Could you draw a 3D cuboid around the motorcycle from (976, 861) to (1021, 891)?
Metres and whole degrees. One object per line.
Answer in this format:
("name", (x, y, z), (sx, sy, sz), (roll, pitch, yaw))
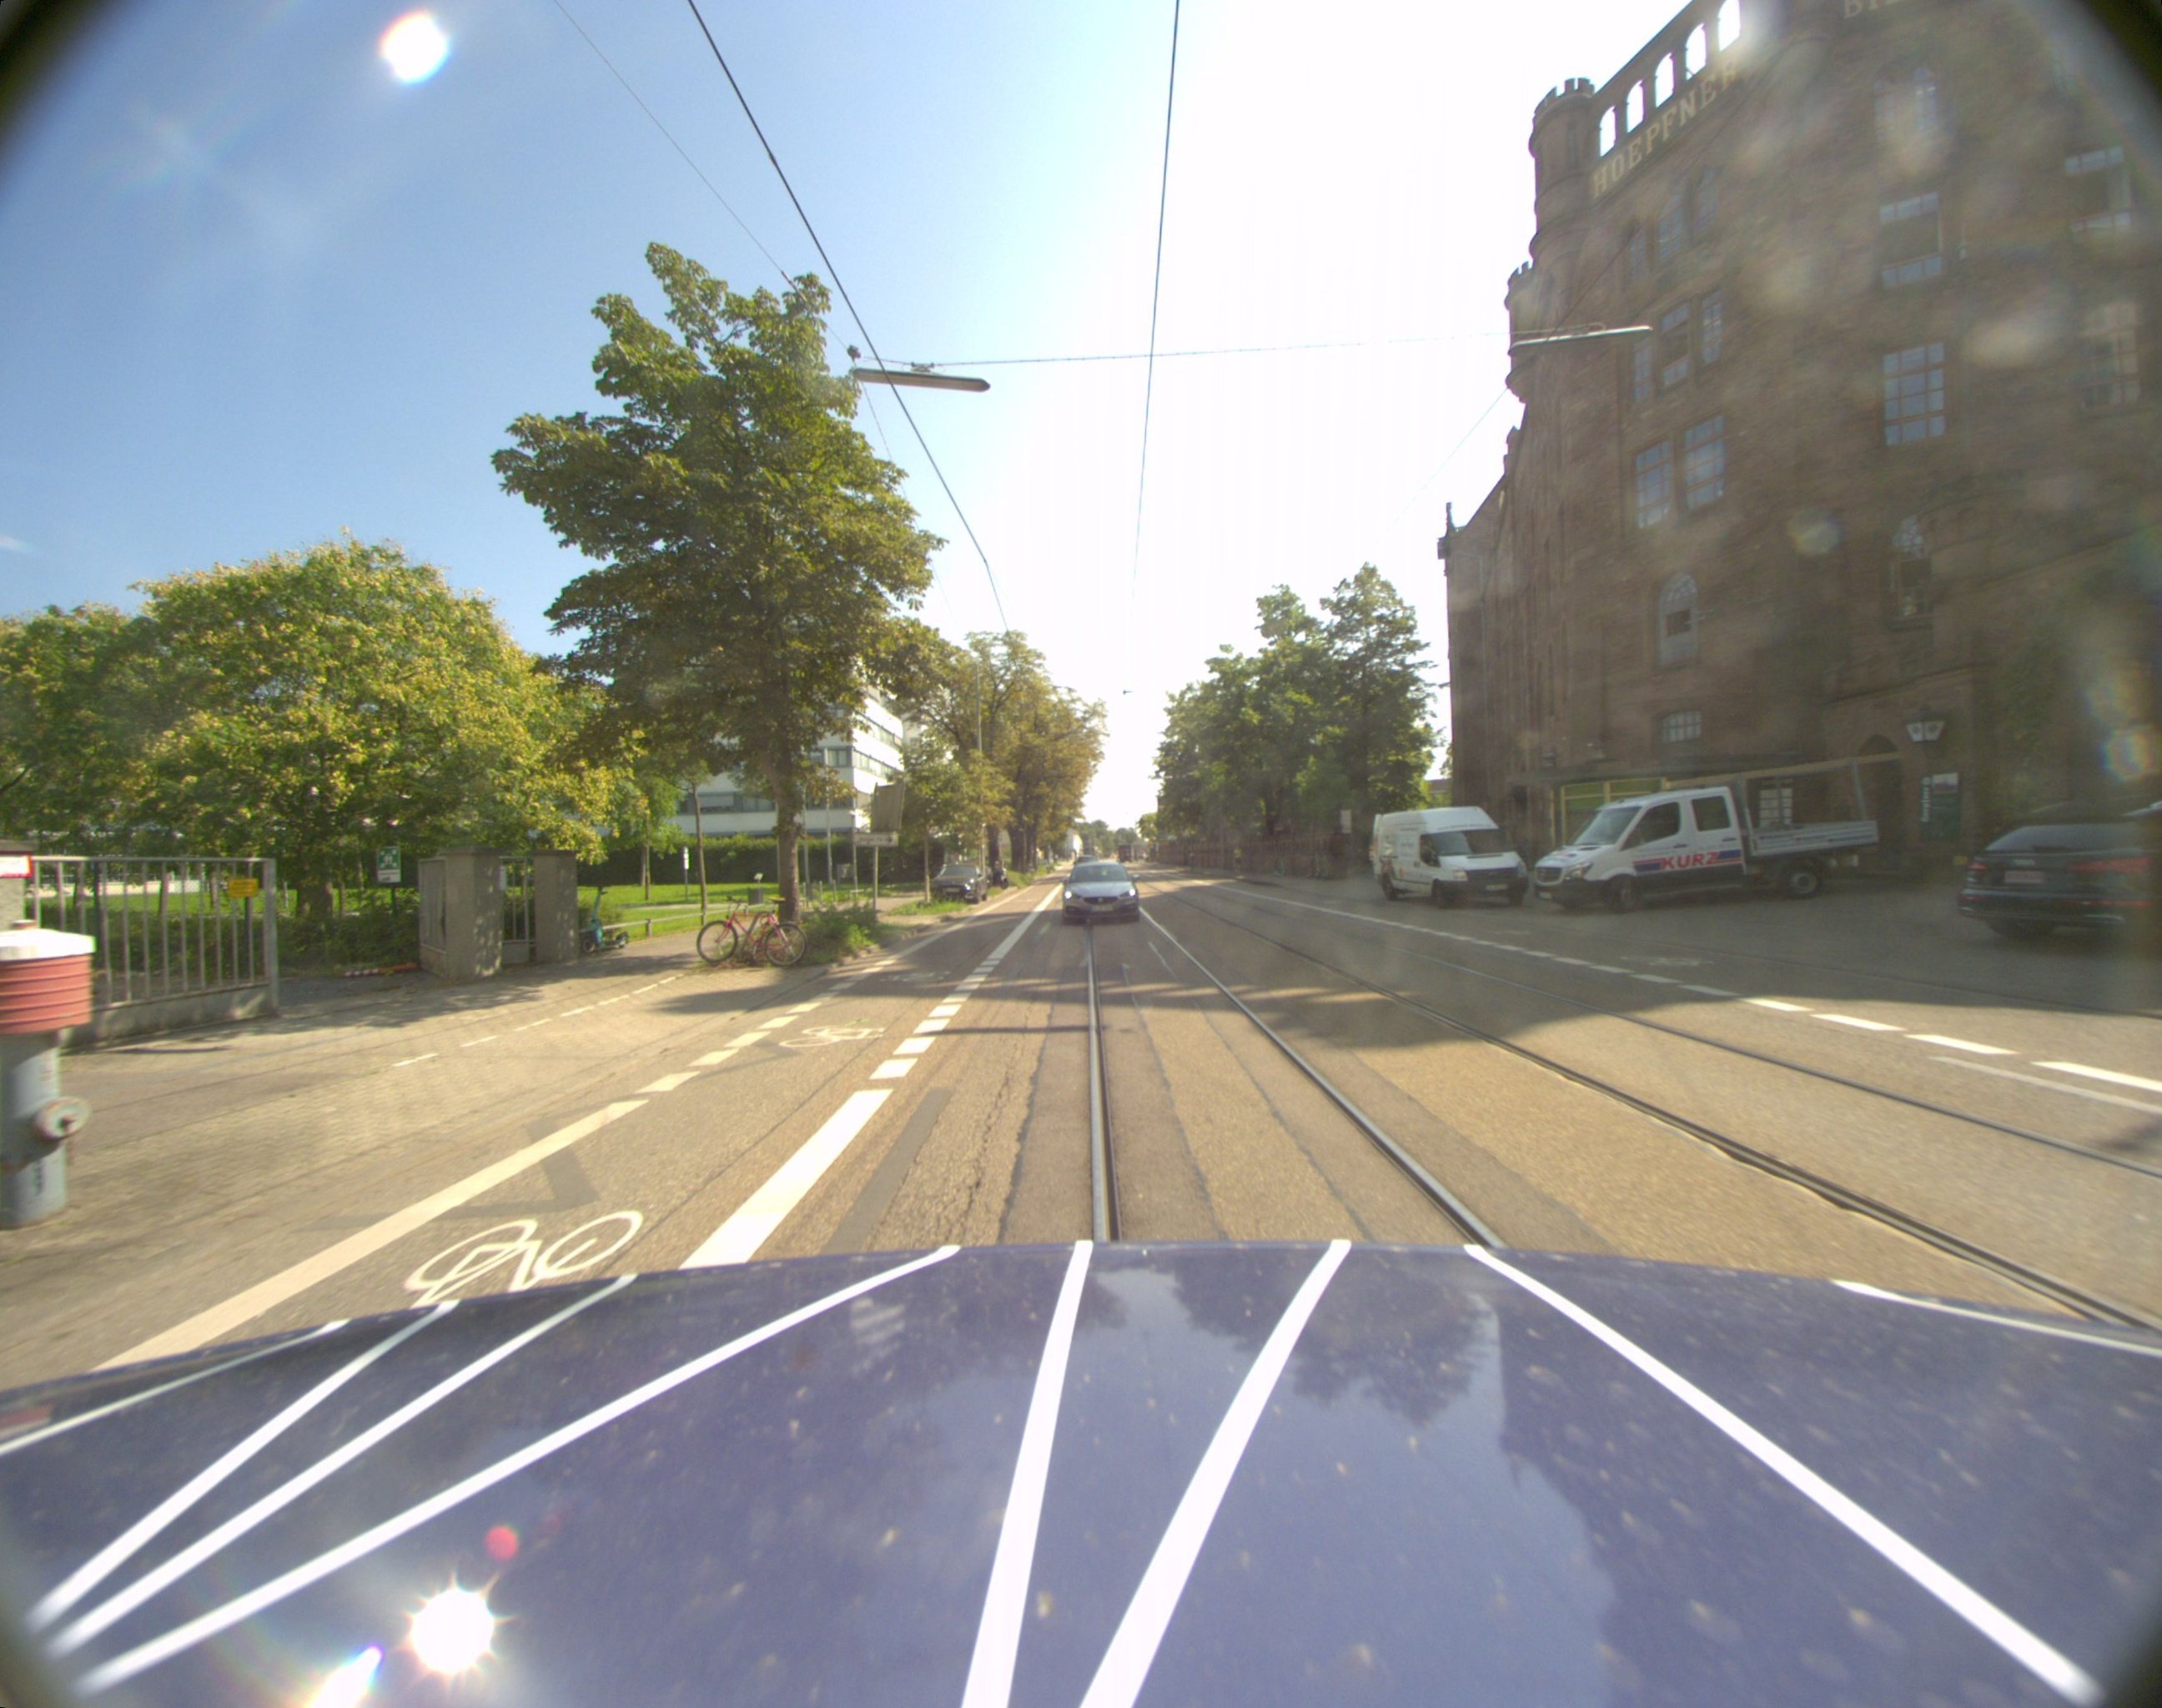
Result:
("motorcycle", (-4.408, 1.166, 40.476), (2.448, 1.507, 0.854), (-3, 0, 39))

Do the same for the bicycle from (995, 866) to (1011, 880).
("bicycle", (-6.778, 1.671, 66.424), (1.138, 1.118, 2.536), (-3, 0, -1))

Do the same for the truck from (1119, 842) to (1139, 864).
("truck", (10.340, -0.212, 163.120), (3.171, 4.427, 16.848), (-3, 0, 7))

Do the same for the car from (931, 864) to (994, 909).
("car", (-4.553, 1.200, 29.811), (1.760, 1.506, 4.609), (-1, 0, -1))

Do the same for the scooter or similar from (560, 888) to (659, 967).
("scooter or similar", (-8.666, 1.313, 14.056), (0.557, 1.252, 1.818), (-3, 0, 3))

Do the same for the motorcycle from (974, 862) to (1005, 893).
("motorcycle", (-4.694, 1.179, 38.779), (0.854, 1.507, 2.450), (-3, 0, -24))

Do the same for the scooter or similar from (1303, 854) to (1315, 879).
("scooter or similar", (10.872, 0.586, 36.194), (0.340, 1.172, 1.180), (-3, 0, 26))

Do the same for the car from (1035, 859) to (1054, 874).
("car", (-3.904, 1.304, 81.676), (1.760, 1.453, 4.275), (-2, 0, 1))

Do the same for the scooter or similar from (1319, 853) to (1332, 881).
("scooter or similar", (10.920, 0.582, 33.887), (0.340, 1.172, 1.180), (-3, 0, 26))

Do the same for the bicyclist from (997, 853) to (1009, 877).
("bicyclist", (-6.806, 0.961, 66.290), (0.783, 2.002, 1.274), (-3, 0, -1))

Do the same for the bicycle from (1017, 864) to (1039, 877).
("bicycle", (-4.435, 1.393, 63.433), (1.775, 1.043, 0.540), (-2, 0, 0))

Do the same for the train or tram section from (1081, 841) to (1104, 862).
("train or tram section", (2.485, -0.528, 156.776), (4.111, 3.711, 24.381), (-3, 0, 2))

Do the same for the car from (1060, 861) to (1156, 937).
("car", (0.566, 0.950, 18.081), (1.928, 1.465, 4.817), (-3, 0, 0))

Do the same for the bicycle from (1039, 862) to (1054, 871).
("bicycle", (-4.176, 1.511, 93.142), (1.775, 1.065, 0.540), (-2, 0, 0))

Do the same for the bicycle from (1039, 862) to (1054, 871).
("bicycle", (-4.187, 1.512, 93.120), (1.775, 1.065, 0.540), (-2, 0, 0))

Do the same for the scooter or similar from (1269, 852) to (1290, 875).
("scooter or similar", (10.584, 0.513, 40.499), (0.422, 1.172, 1.315), (-3, 0, -15))

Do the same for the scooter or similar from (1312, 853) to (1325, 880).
("scooter or similar", (10.949, 0.581, 35.021), (0.340, 1.172, 1.180), (-3, 0, 26))

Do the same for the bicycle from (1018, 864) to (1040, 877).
("bicycle", (-4.383, 1.391, 64.110), (1.775, 1.043, 0.540), (-2, 0, 0))

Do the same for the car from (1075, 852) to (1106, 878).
("car", (0.593, 0.686, 49.675), (1.834, 1.543, 4.033), (-3, 0, 0))

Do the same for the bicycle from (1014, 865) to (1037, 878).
("bicycle", (-4.443, 1.391, 60.953), (1.775, 1.043, 0.540), (-2, 0, 0))

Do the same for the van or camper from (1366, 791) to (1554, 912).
("van or camper", (9.776, -0.064, 20.334), (2.118, 2.659, 5.955), (-3, 0, 2))

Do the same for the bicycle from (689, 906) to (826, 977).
("bicycle", (-4.958, 1.337, 11.693), (1.816, 0.952, 0.558), (-3, 0, 0))

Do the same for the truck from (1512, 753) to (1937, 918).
("truck", (12.703, -0.302, 15.448), (6.334, 2.523, 2.132), (-6, -1, 5))

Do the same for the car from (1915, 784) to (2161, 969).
("car", (12.568, 0.079, 8.475), (4.146, 1.733, 2.000), (-6, 0, 2))

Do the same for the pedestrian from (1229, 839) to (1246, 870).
("pedestrian", (10.562, 0.042, 51.371), (0.866, 2.002, 0.983), (-3, 0, -1))
